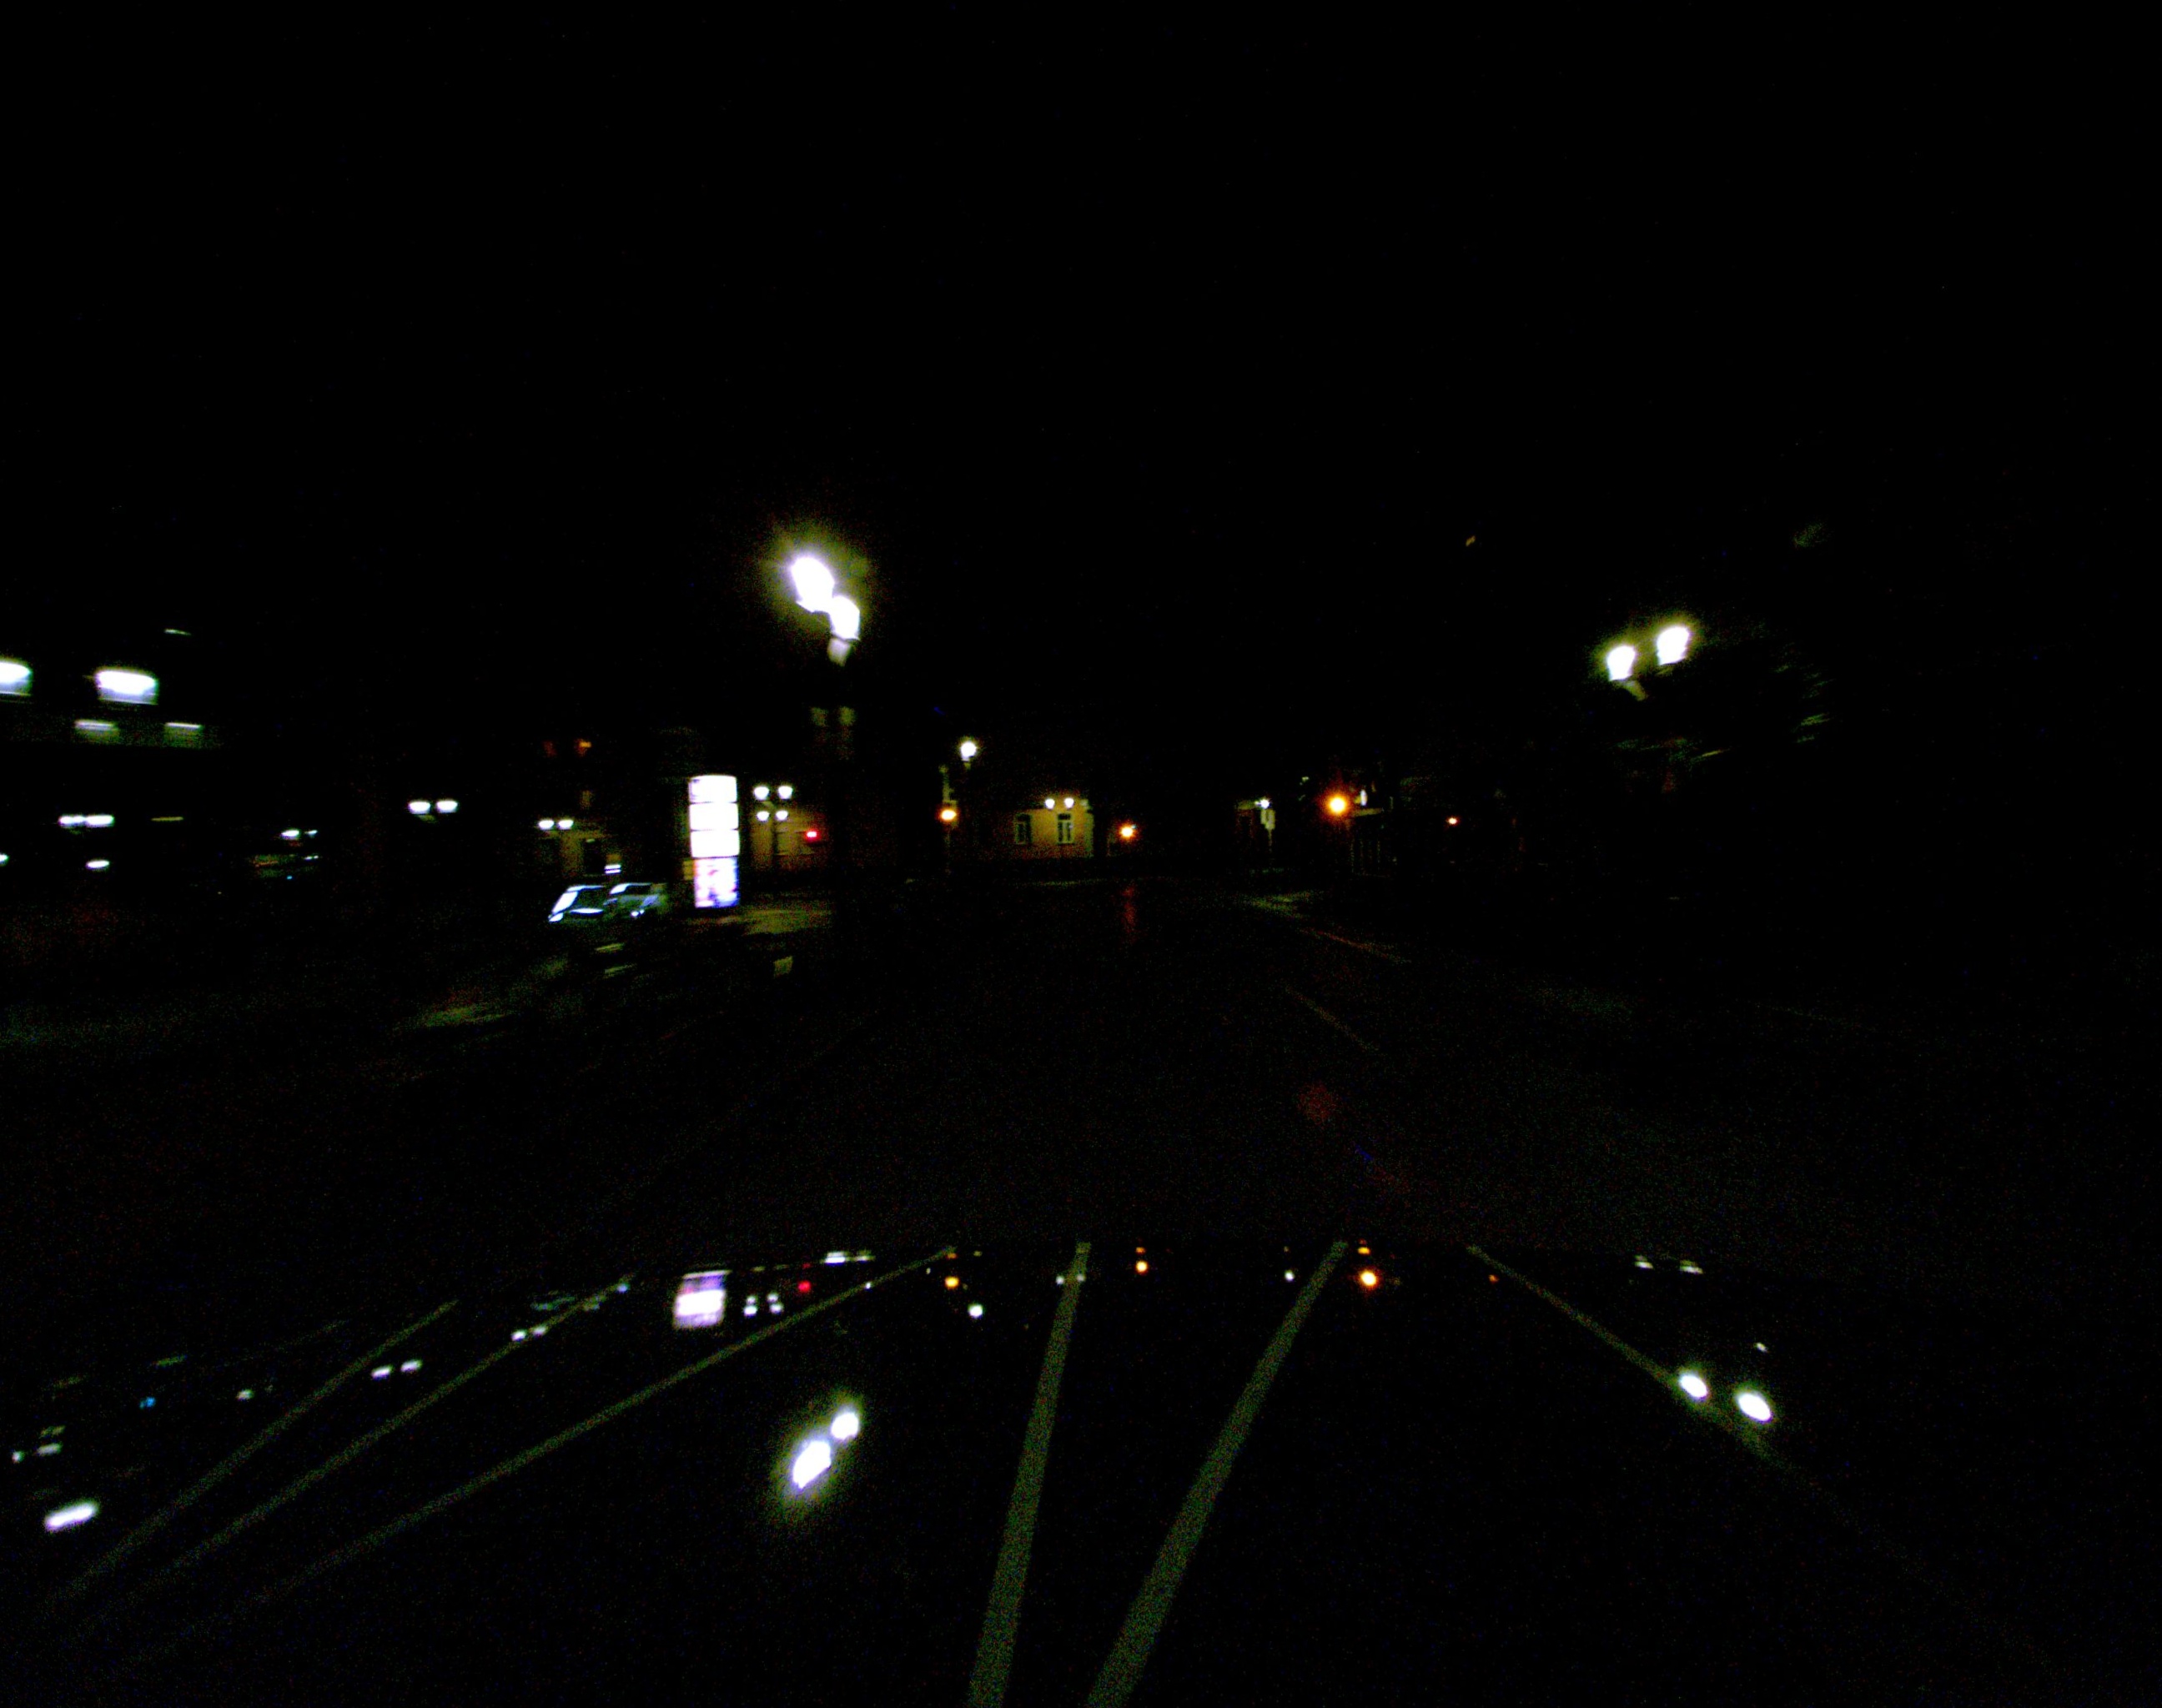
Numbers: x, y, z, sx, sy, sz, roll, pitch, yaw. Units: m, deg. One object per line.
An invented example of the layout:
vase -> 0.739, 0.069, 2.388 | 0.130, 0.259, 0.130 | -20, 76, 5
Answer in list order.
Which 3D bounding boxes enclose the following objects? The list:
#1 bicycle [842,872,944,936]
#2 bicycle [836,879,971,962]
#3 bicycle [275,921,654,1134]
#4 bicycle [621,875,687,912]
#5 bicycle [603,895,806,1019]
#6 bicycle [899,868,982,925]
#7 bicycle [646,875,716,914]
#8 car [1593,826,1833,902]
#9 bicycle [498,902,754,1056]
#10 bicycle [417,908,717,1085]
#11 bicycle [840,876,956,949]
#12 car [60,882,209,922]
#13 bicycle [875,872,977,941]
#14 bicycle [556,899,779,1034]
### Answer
bicycle -> -3.660, 0.965, 14.869 | 1.774, 1.134, 0.687 | -2, 1, -1
bicycle -> -2.683, 0.994, 11.640 | 1.870, 1.128, 0.725 | -2, 1, -2
bicycle -> -3.949, 1.082, 4.993 | 1.787, 1.144, 0.759 | -2, 1, -2
bicycle -> -14.628, 1.333, 26.058 | 0.648, 1.121, 1.806 | -2, 1, 39
bicycle -> -3.842, 1.042, 7.817 | 1.776, 1.144, 0.582 | -2, 1, 4
bicycle -> -3.095, 0.928, 16.844 | 1.659, 1.134, 0.827 | -2, 1, -1
bicycle -> -12.806, 1.270, 24.364 | 0.648, 1.121, 1.806 | -2, 1, 39
car -> 14.492, 0.218, 17.593 | 3.997, 1.518, 1.819 | -2, 1, 1
bicycle -> -3.857, 1.044, 6.536 | 1.776, 1.144, 0.582 | -2, 1, -2
bicycle -> -3.824, 1.042, 5.753 | 1.776, 1.144, 0.614 | -2, 1, -2
bicycle -> -3.084, 0.976, 12.938 | 1.793, 1.128, 0.629 | -2, 1, -2
car -> -45.466, 2.287, 36.616 | 4.244, 1.576, 1.739 | -2, 1, -14
bicycle -> -2.787, 0.937, 13.772 | 1.659, 1.128, 0.642 | -2, 1, -1
bicycle -> -3.886, 1.045, 7.207 | 1.776, 1.144, 0.582 | -2, 1, 4
